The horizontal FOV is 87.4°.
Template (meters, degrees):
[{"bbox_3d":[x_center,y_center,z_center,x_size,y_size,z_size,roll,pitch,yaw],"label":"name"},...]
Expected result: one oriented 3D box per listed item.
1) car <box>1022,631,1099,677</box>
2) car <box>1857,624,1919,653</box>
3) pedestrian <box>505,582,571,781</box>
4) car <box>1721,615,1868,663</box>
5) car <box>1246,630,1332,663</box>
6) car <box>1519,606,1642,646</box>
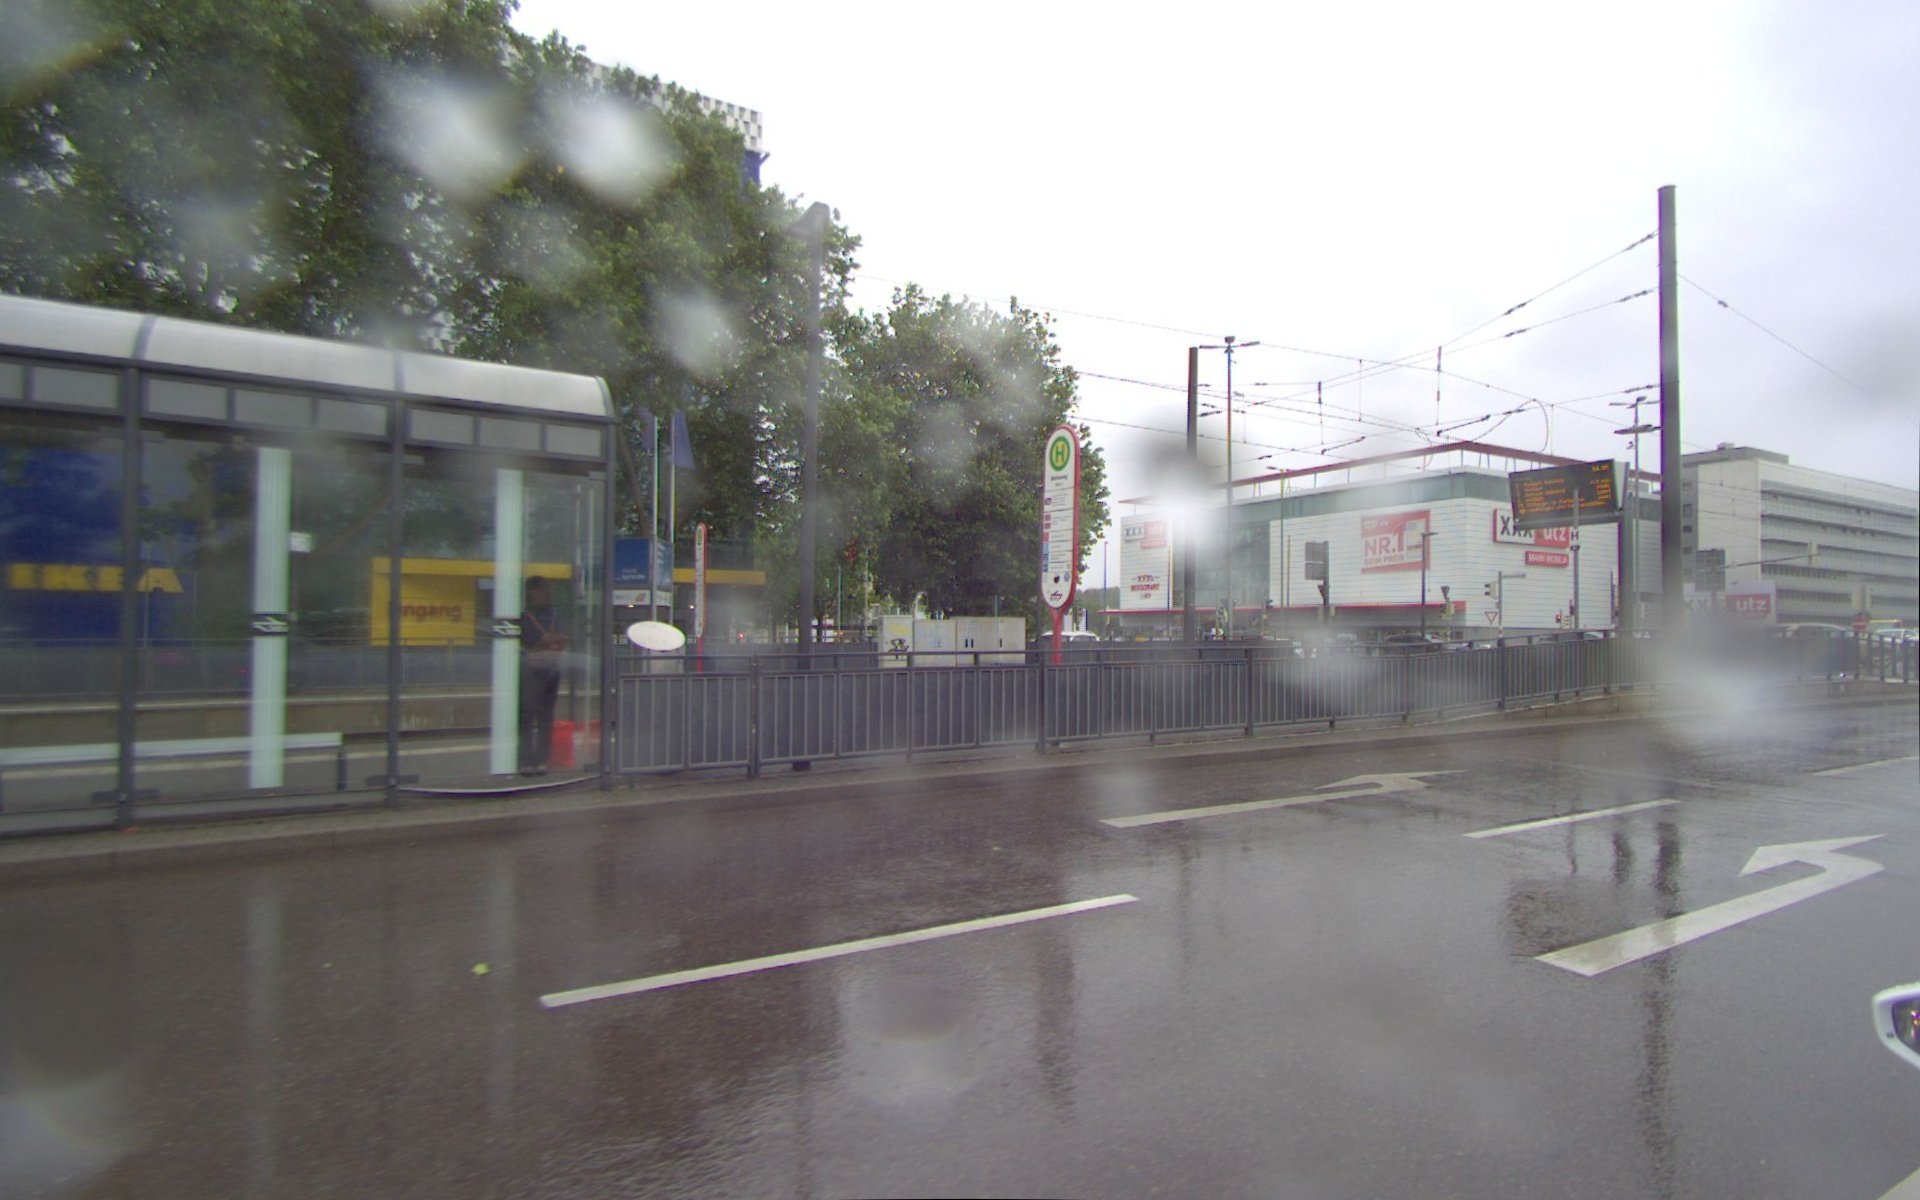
[{"bbox_3d":[3.676,1.900,36.272,1.556,1.483,3.424,2,0,28],"label":"car"},{"bbox_3d":[51.280,2.116,55.355,3.766,1.445,1.702,3,0,-31],"label":"car"},{"bbox_3d":[-3.304,0.626,7.860,0.410,1.513,0.320,2,0,-26],"label":"pedestrian"},{"bbox_3d":[34.496,1.571,41.693,4.386,1.684,1.949,3,0,32],"label":"car"},{"bbox_3d":[18.353,2.557,56.137,1.808,1.521,4.221,3,0,-41],"label":"car"},{"bbox_3d":[26.628,1.096,43.193,1.704,1.470,4.149,3,0,-40],"label":"car"}]
